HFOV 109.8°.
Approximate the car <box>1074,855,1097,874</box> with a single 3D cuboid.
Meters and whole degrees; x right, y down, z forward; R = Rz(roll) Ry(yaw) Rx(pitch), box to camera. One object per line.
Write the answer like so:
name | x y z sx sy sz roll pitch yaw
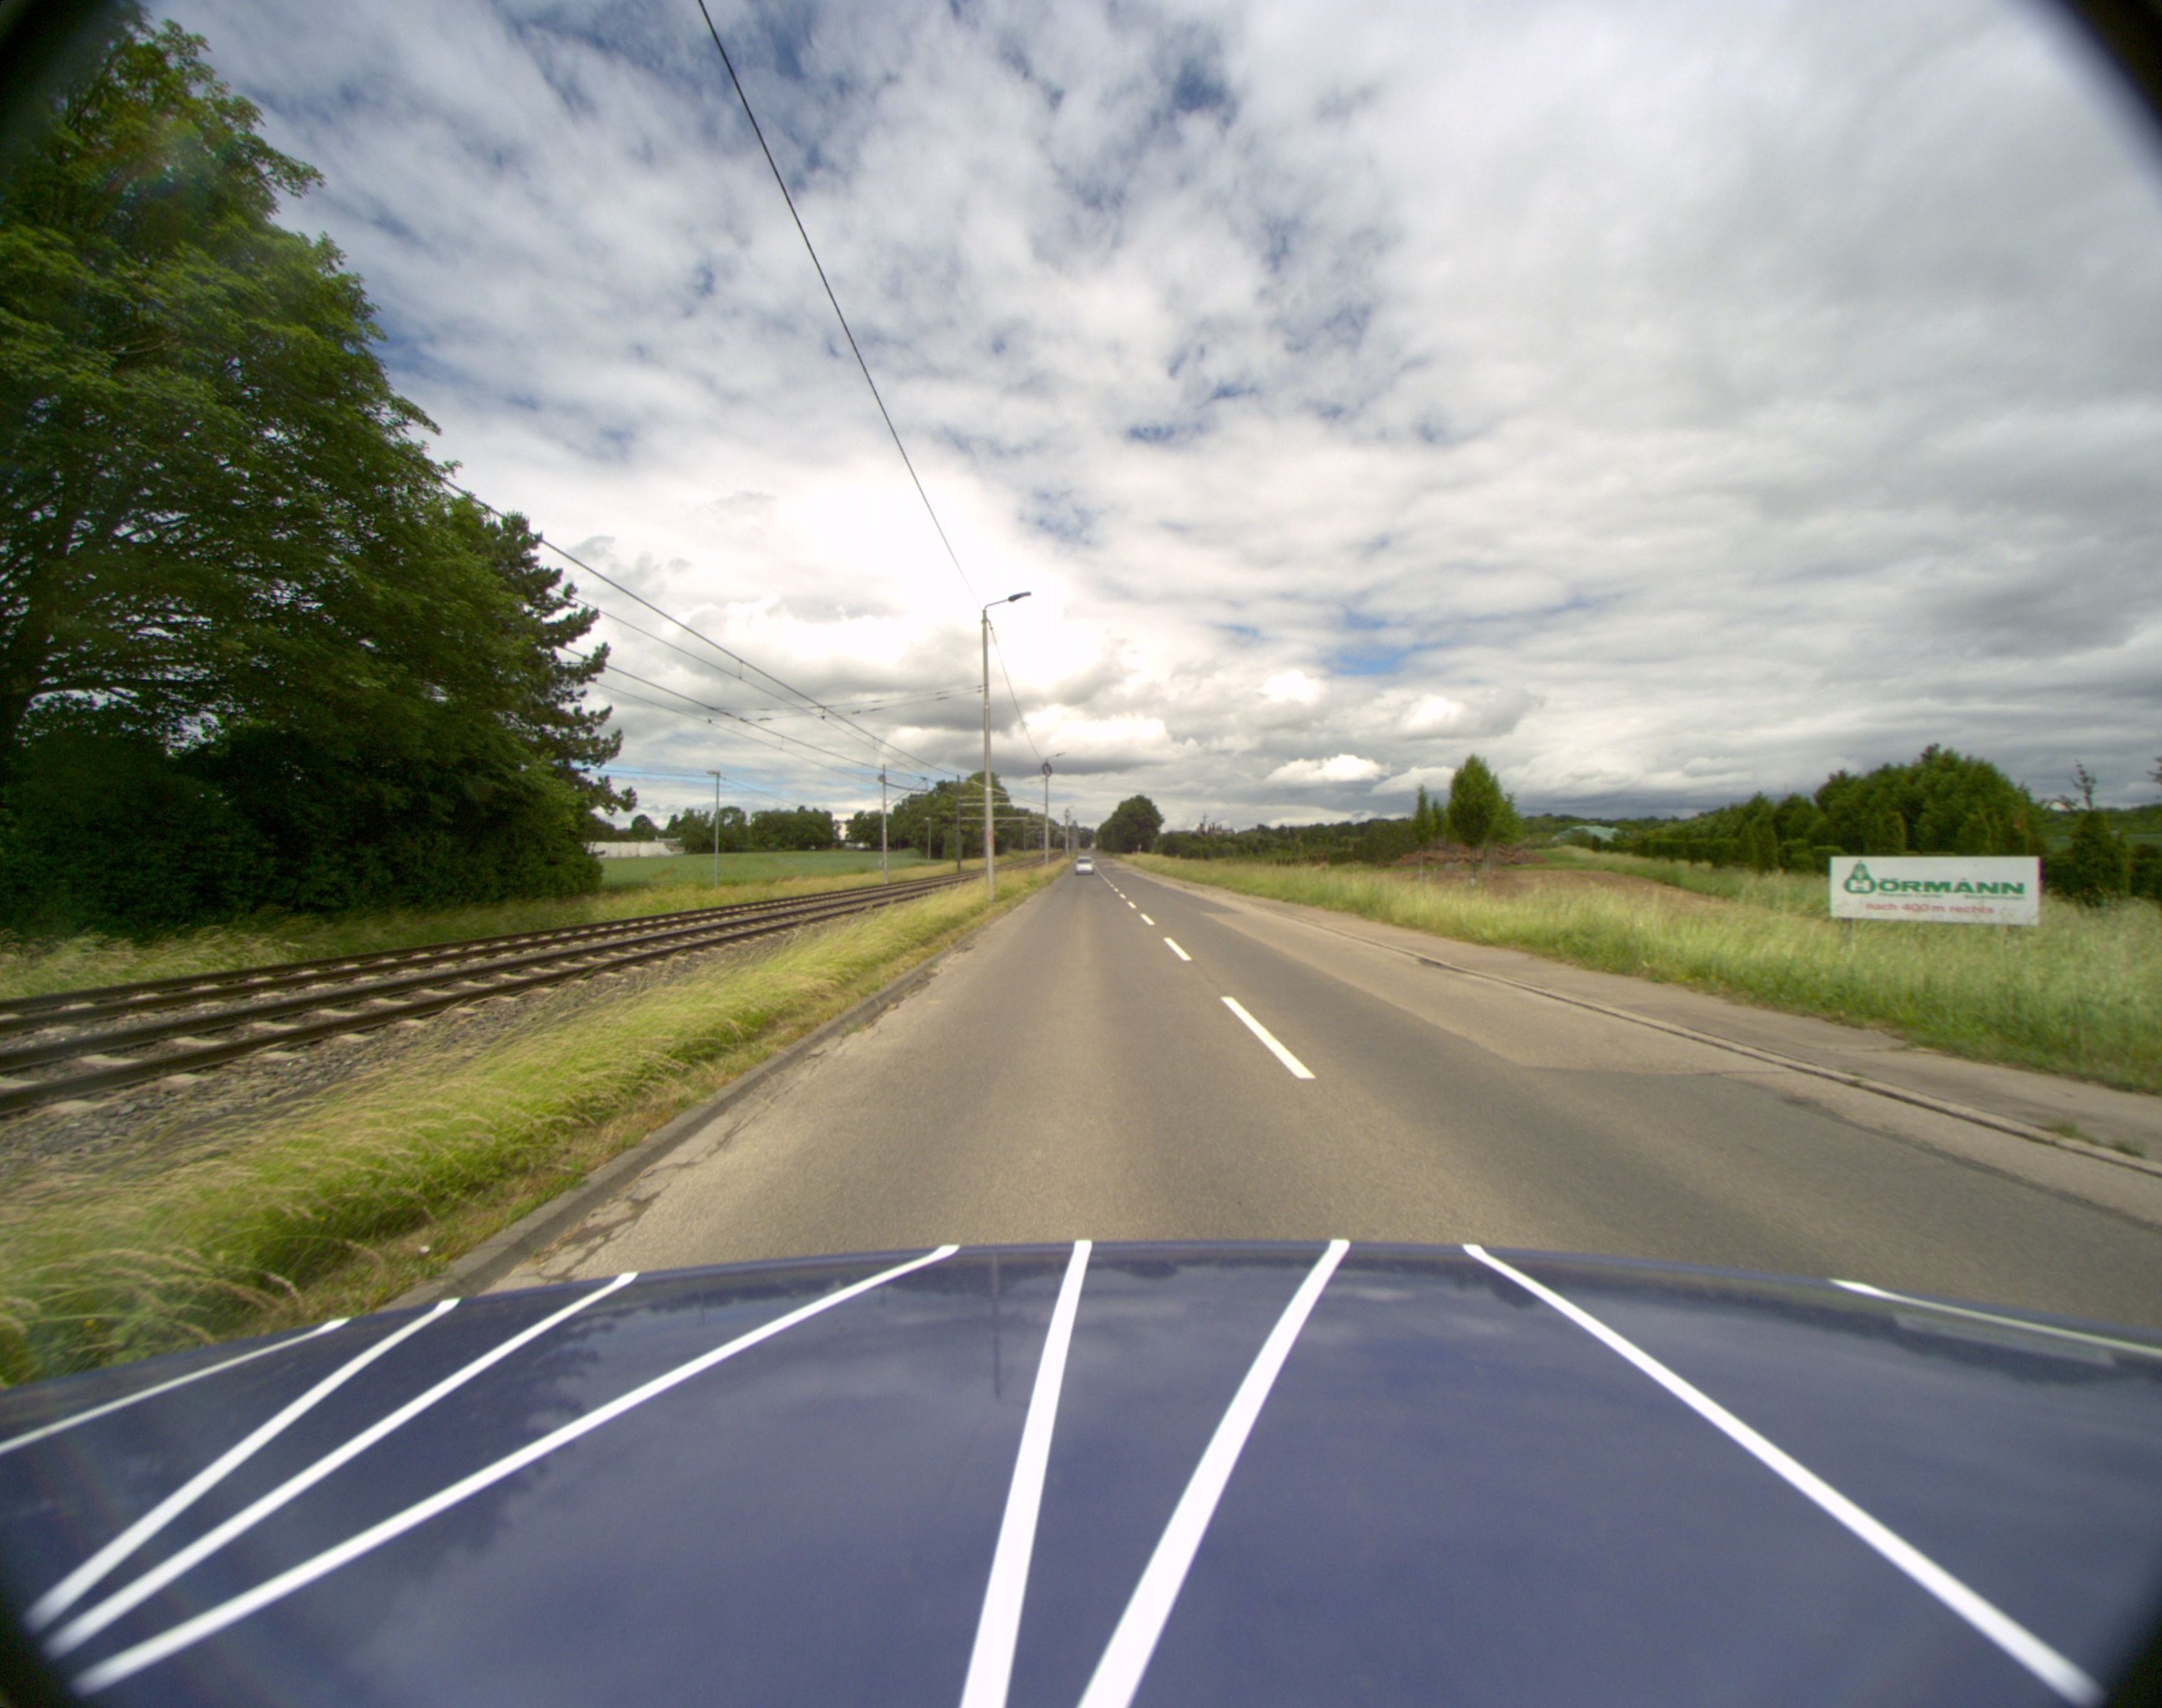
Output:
car | 0.404 0.957 71.399 1.999 1.679 3.999 1 0 -1
